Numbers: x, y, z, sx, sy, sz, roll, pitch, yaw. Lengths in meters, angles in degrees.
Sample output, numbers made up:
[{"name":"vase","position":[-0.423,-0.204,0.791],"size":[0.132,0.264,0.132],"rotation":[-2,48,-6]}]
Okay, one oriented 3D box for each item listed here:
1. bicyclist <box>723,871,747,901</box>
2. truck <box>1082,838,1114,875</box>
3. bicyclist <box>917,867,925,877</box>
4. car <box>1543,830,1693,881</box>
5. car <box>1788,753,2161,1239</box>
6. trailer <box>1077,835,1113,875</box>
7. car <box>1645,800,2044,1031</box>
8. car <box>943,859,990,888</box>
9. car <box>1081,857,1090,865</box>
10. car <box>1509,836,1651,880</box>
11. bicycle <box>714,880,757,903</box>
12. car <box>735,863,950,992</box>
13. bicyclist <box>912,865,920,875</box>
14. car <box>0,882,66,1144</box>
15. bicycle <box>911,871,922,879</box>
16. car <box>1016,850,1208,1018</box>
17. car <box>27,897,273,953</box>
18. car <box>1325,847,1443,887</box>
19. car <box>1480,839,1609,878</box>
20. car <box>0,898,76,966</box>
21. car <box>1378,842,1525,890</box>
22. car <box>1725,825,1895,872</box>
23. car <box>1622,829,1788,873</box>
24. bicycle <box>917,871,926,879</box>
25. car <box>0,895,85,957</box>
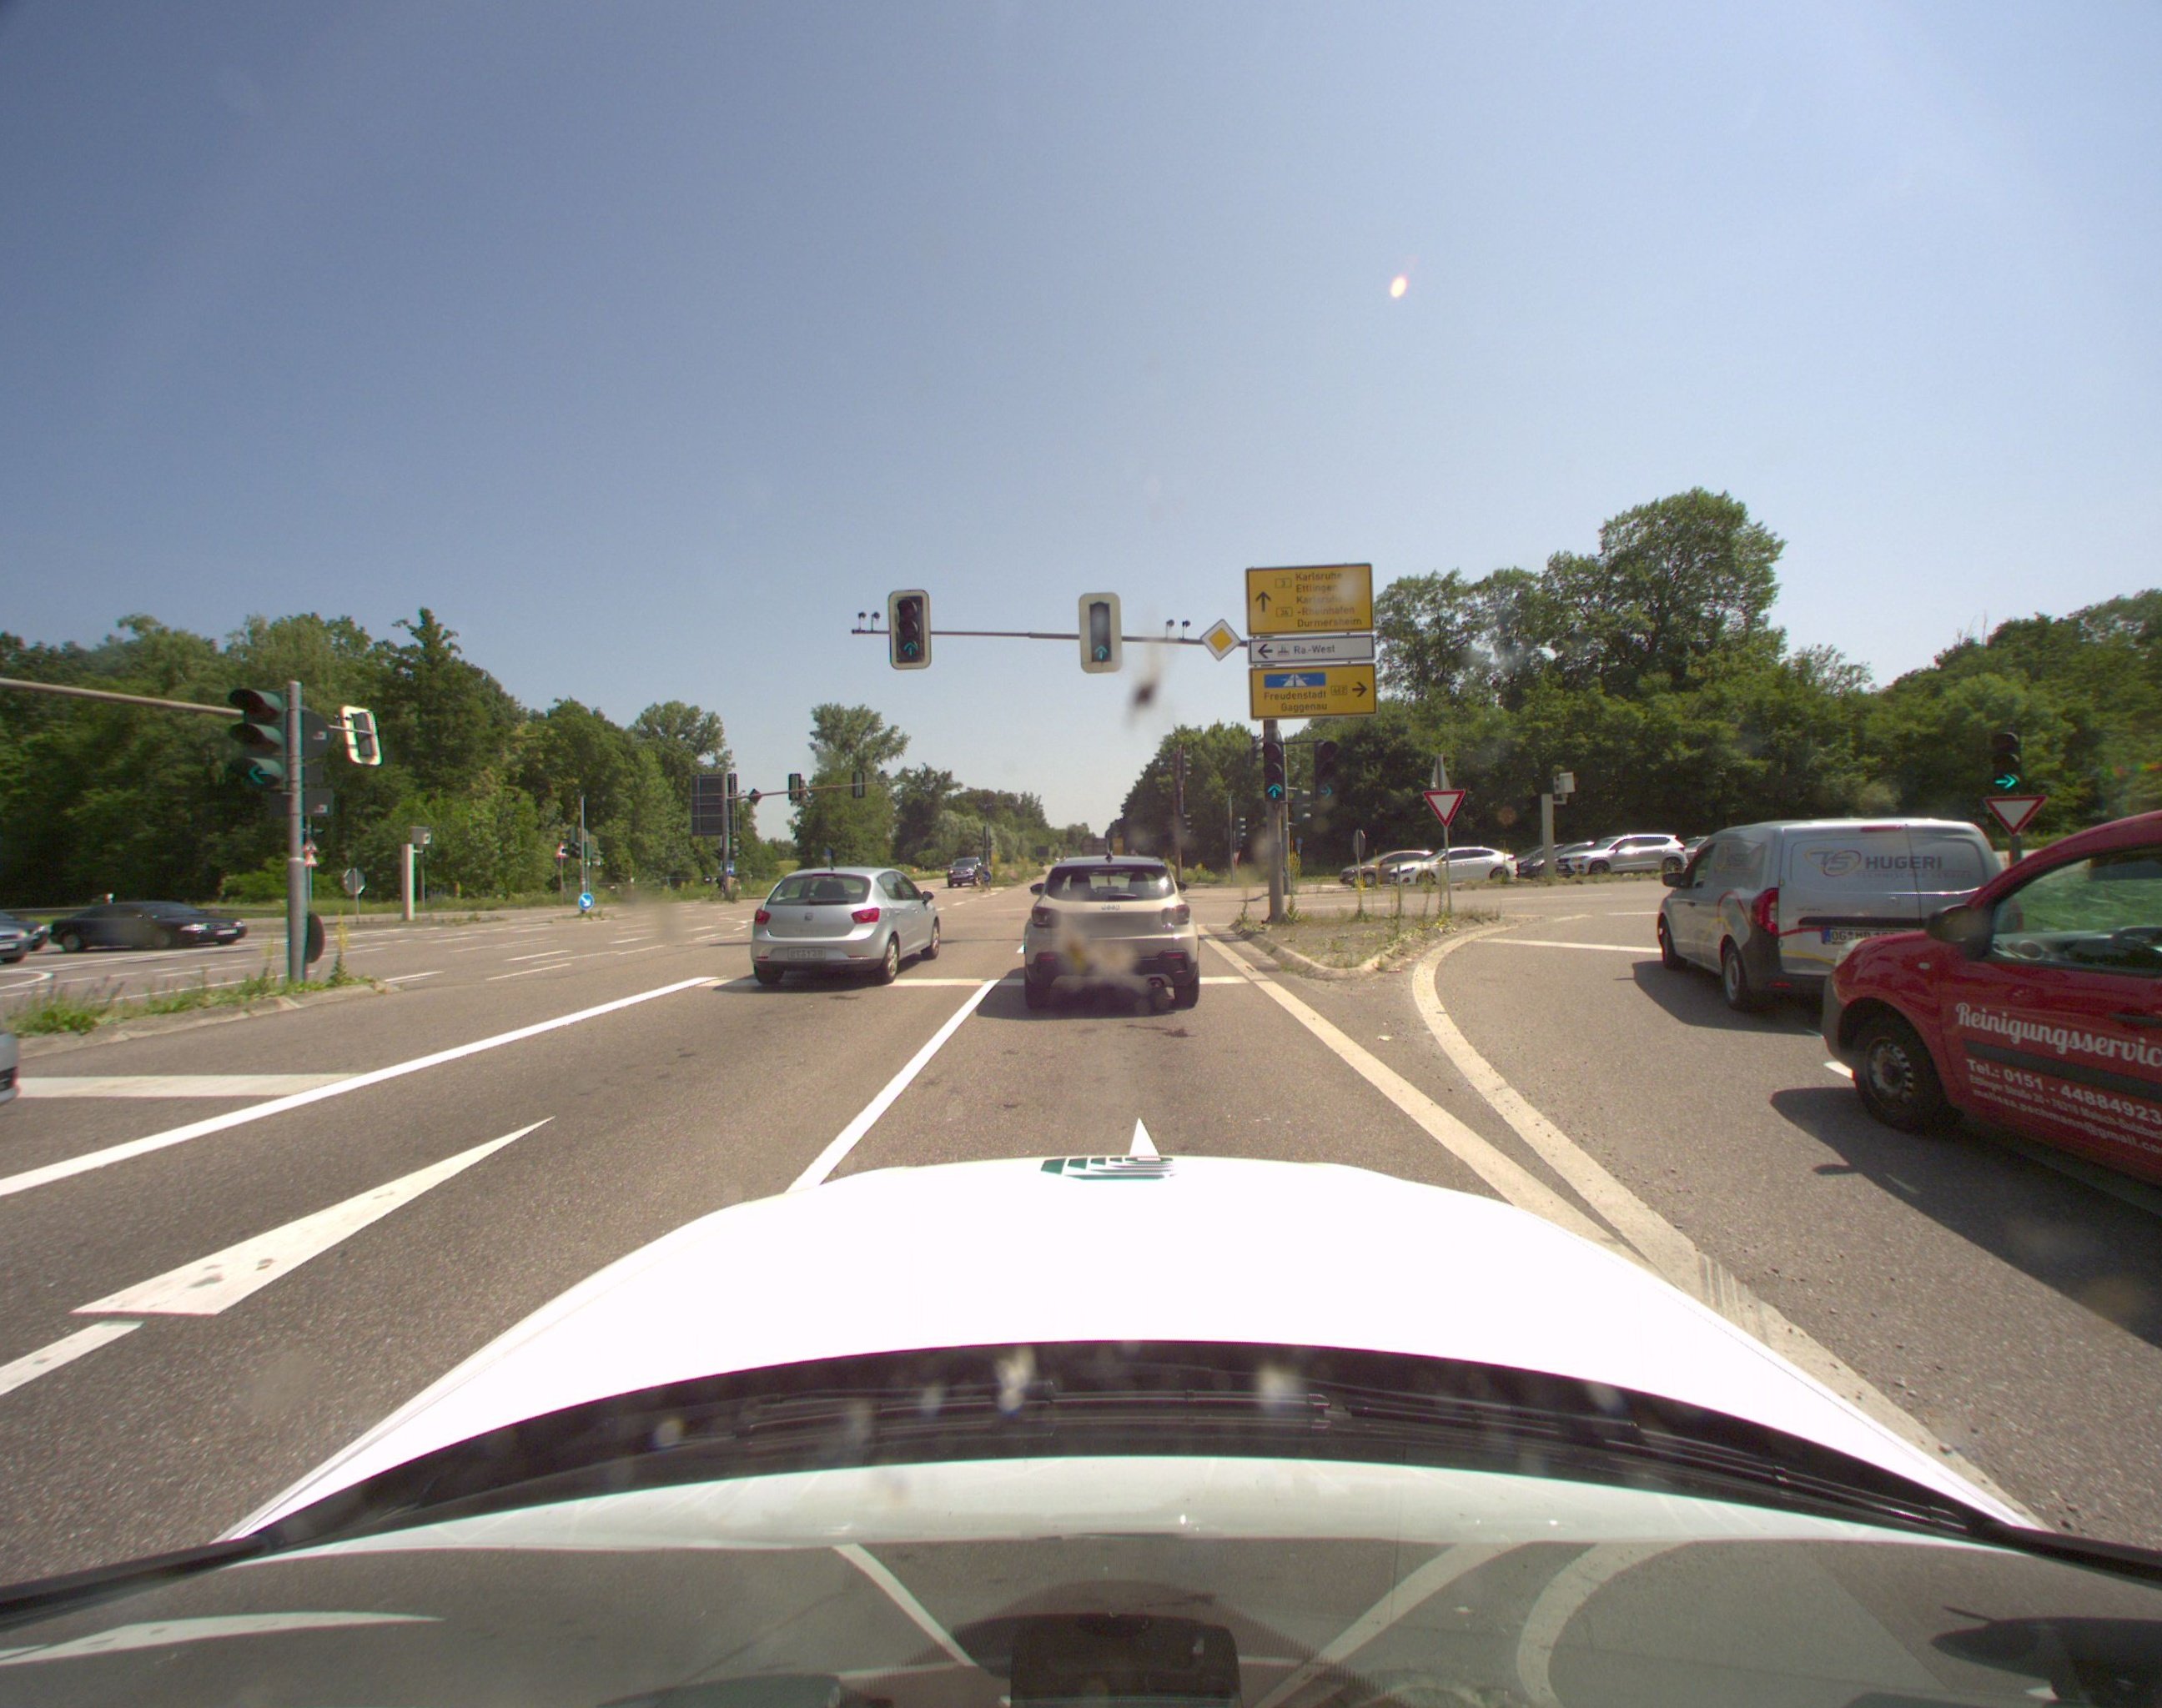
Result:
[{"name":"bicyclist","position":[-17.709,1.645,41.707],"size":[0.914,1.459,0.721],"rotation":[-3,-1,39]},{"name":"truck","position":[2.013,0.324,93.727],"size":[3.319,3.989,6.539],"rotation":[0,-1,3]},{"name":"bicyclist","position":[-21.021,2.368,107.008],"size":[0.730,1.195,0.594],"rotation":[-3,-1,12]},{"name":"car","position":[19.611,0.056,29.891],"size":[4.157,1.659,2.001],"rotation":[-2,-1,1]},{"name":"car","position":[4.906,0.526,2.820],"size":[1.779,1.822,4.512],"rotation":[-1,0,13]},{"name":"trailer","position":[1.653,0.201,88.092],"size":[3.368,3.989,10.813],"rotation":[0,-1,3]},{"name":"car","position":[7.385,0.477,8.467],"size":[1.740,1.773,4.136],"rotation":[-2,0,24]},{"name":"car","position":[-7.312,1.204,52.662],"size":[1.986,1.678,5.368],"rotation":[-3,0,2]},{"name":"car","position":[1.201,1.761,201.457],"size":[1.986,2.013,4.555],"rotation":[-2,0,1]},{"name":"car","position":[20.087,0.163,32.948],"size":[4.403,1.535,2.123],"rotation":[-2,-1,1]},{"name":"bicycle","position":[-17.675,1.922,41.738],"size":[0.715,1.063,1.881],"rotation":[-3,-1,39]},{"name":"car","position":[-3.000,0.855,11.096],"size":[1.659,1.430,3.830],"rotation":[0,0,2]},{"name":"bicyclist","position":[-20.959,2.063,103.312],"size":[0.752,1.195,0.594],"rotation":[-3,-1,12]},{"name":"car","position":[-6.675,0.857,2.622],"size":[1.759,1.391,4.014],"rotation":[0,0,0]},{"name":"bicycle","position":[-20.919,2.664,103.350],"size":[0.671,1.005,1.806],"rotation":[-3,0,11]},{"name":"car","position":[0.376,0.758,9.599],"size":[1.760,1.535,4.002],"rotation":[-1,0,2]},{"name":"car","position":[-27.035,2.039,23.767],"size":[4.787,1.290,2.106],"rotation":[-2,-1,2]},{"name":"car","position":[12.435,0.537,33.610],"size":[4.079,1.447,1.995],"rotation":[-2,-1,-1]},{"name":"car","position":[20.767,0.220,36.644],"size":[4.599,1.498,2.113],"rotation":[-2,-1,1]},{"name":"car","position":[-28.323,2.000,19.936],"size":[4.787,1.567,2.130],"rotation":[-2,-1,1]},{"name":"car","position":[13.435,0.430,29.737],"size":[4.405,1.535,2.000],"rotation":[-2,-1,0]},{"name":"car","position":[26.392,-0.181,29.622],"size":[4.314,1.414,1.975],"rotation":[-3,-1,2]},{"name":"car","position":[25.596,-0.101,33.552],"size":[5.110,1.534,2.139],"rotation":[-3,-1,1]},{"name":"bicycle","position":[-20.976,2.745,107.021],"size":[0.600,1.006,1.561],"rotation":[-3,-1,13]},{"name":"car","position":[-32.625,2.170,23.821],"size":[4.782,1.636,2.003],"rotation":[-2,-1,5]}]
